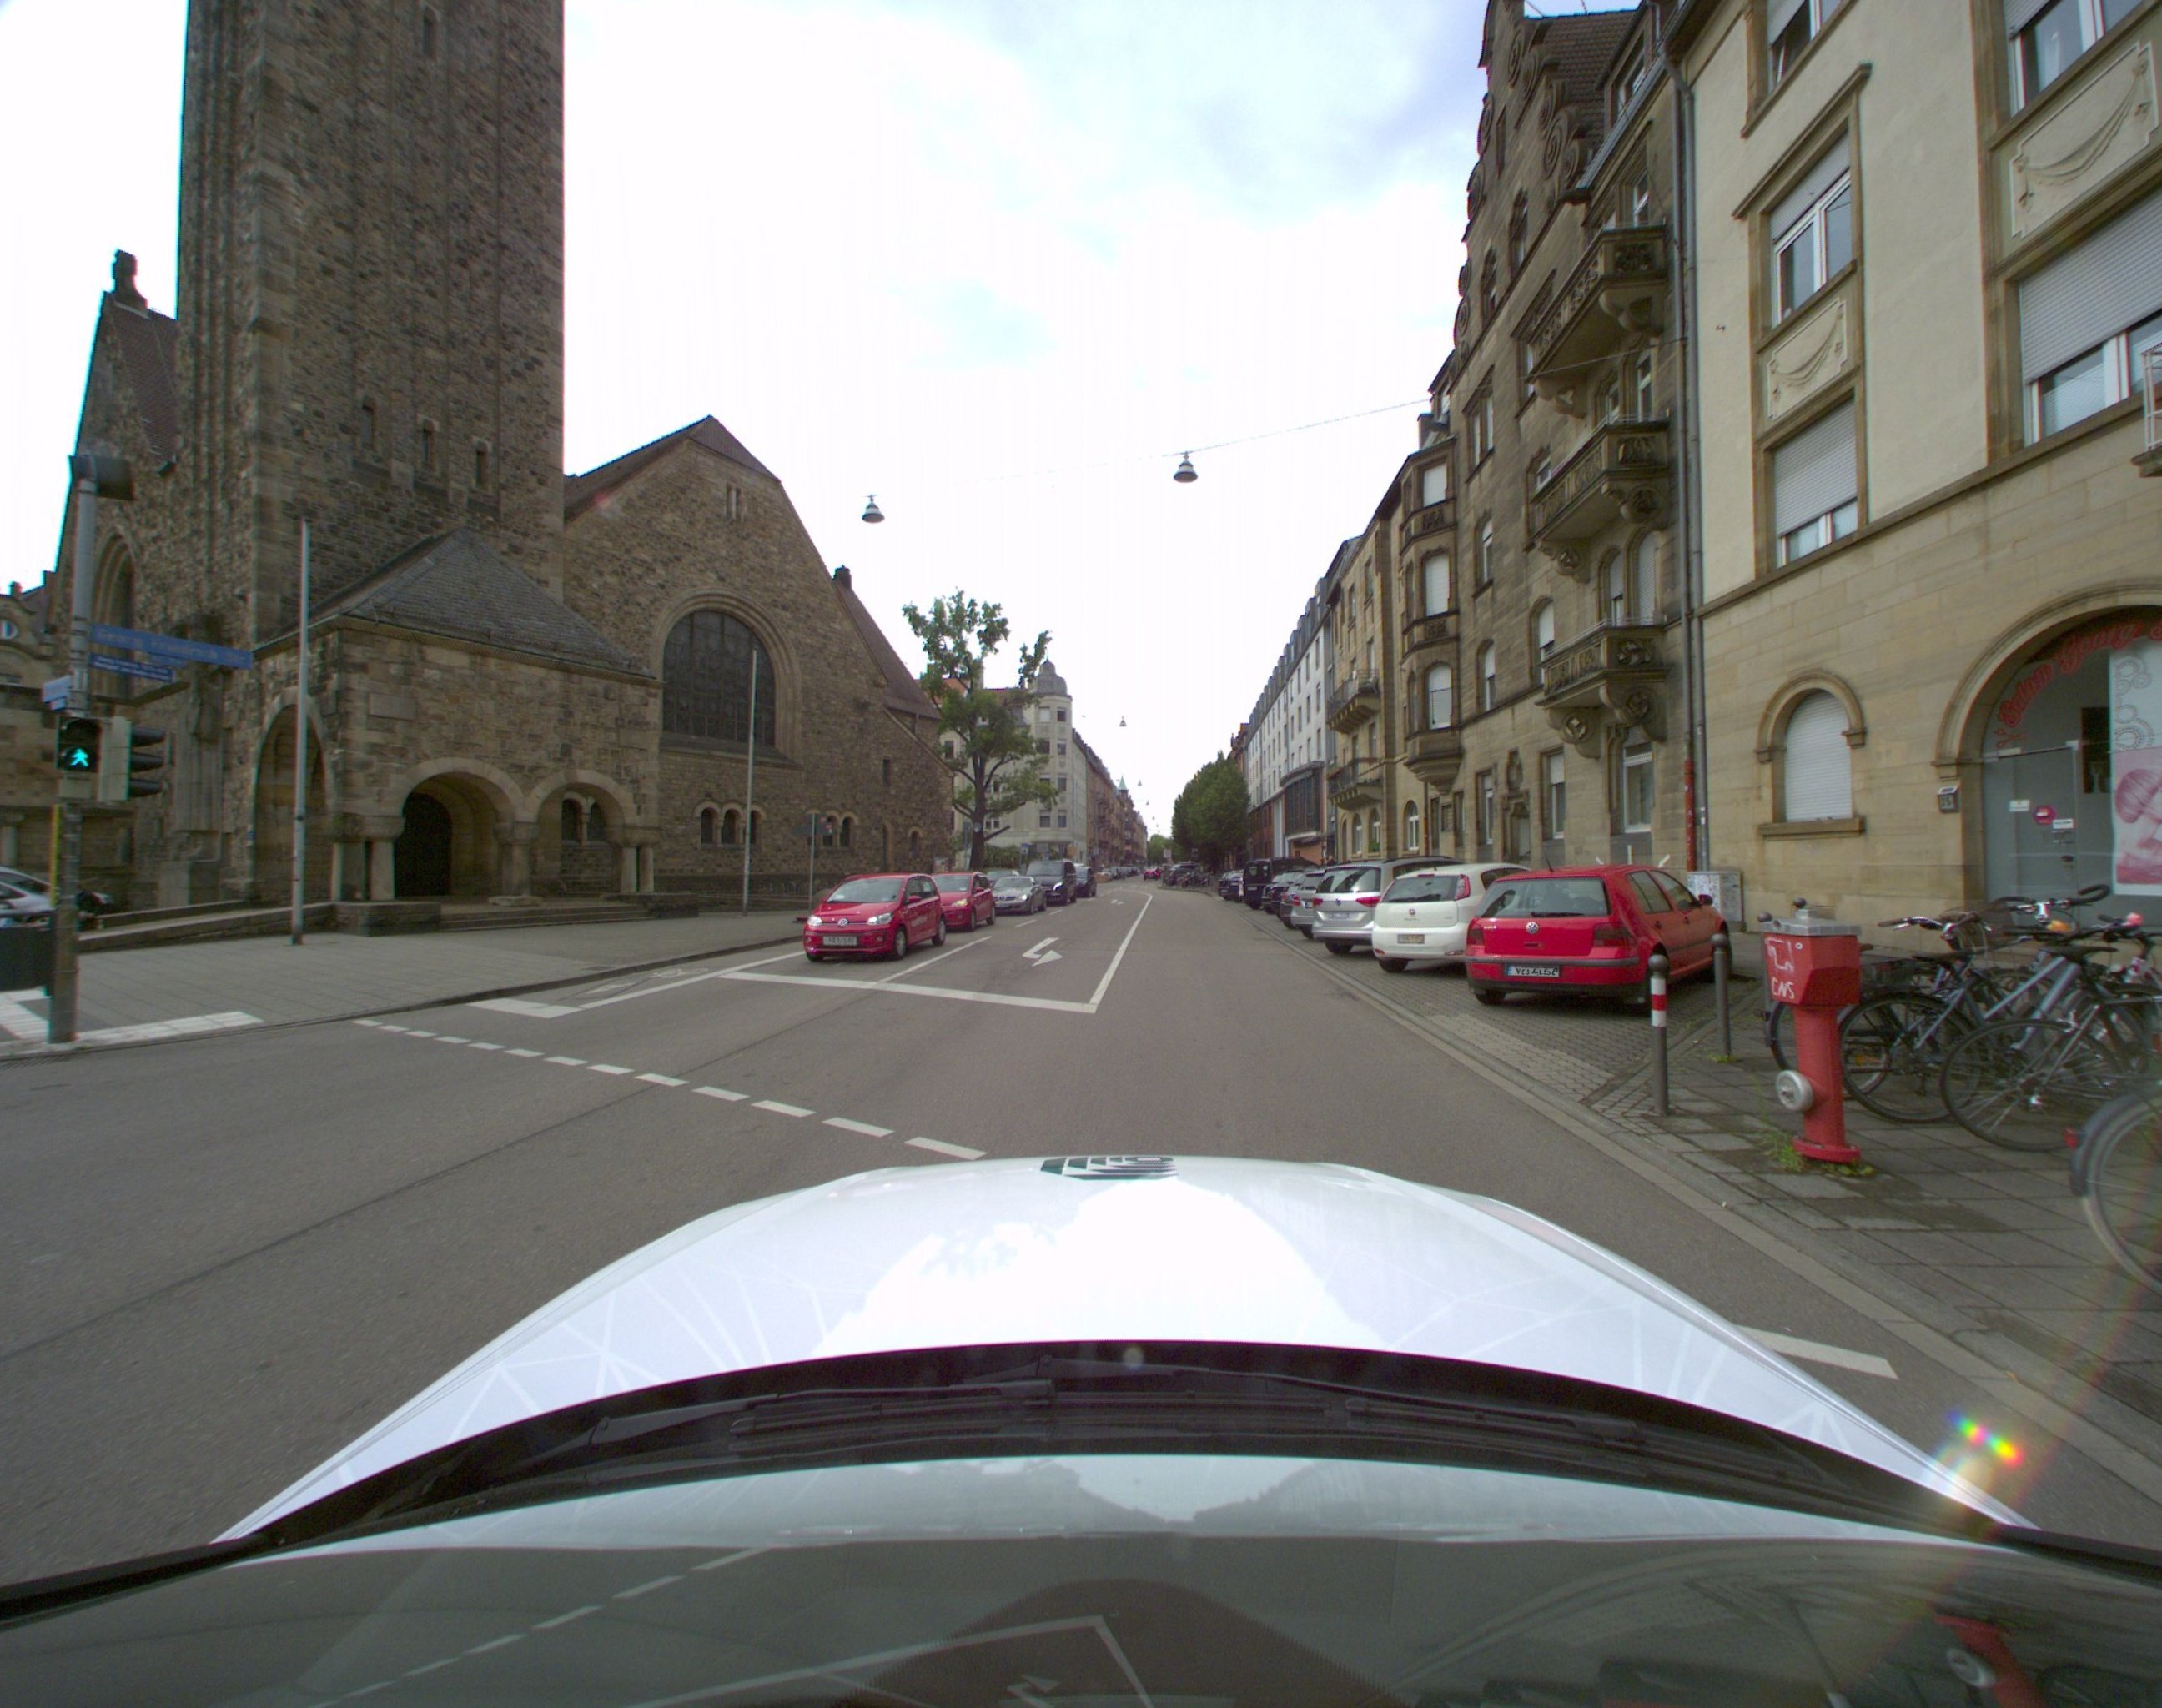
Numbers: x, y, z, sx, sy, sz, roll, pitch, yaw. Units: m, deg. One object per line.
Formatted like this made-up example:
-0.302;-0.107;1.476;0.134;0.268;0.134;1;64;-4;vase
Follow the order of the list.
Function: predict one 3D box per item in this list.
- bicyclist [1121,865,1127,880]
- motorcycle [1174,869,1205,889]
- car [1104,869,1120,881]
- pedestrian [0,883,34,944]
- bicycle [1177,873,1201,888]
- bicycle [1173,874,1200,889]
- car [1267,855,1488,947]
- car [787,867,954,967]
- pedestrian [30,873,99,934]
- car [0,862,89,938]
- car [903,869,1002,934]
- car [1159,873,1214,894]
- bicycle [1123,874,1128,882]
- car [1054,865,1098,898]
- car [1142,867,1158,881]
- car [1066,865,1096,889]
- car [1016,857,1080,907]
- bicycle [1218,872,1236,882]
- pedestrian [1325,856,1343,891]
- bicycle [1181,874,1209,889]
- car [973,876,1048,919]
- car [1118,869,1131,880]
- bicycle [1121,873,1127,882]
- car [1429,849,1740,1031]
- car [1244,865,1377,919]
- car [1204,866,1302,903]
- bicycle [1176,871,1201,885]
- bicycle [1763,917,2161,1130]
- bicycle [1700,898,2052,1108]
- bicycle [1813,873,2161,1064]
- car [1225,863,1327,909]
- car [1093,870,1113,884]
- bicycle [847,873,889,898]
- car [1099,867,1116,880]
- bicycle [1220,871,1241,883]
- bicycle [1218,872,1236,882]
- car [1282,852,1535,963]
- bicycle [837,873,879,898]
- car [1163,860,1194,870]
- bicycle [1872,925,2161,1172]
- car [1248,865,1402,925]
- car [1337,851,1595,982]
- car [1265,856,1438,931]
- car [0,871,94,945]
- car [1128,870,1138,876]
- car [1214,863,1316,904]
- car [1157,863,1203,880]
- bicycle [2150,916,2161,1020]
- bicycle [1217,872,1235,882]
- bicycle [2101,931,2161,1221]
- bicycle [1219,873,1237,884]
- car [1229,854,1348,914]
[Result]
5.370;2.248;101.430;0.778;1.866;0.716;0;-1;7;bicyclist
7.818;1.812;58.807;2.125;1.430;0.771;-1;-3;2;motorcycle
4.290;2.903;111.273;1.934;1.617;3.949;1;-2;6;car
-21.991;1.188;16.497;1.474;1.192;0.743;-1;-3;31;pedestrian
8.534;2.118;64.366;1.876;1.141;0.612;-1;-3;2;bicycle
7.858;2.042;60.673;1.921;1.043;0.612;-1;-3;2;bicycle
6.600;0.972;17.989;4.767;1.685;1.918;-2;-2;-31;car
-3.697;1.050;15.039;1.640;1.528;3.900;-2;-1;6;car
-21.494;1.038;17.249;0.743;1.229;1.049;3;-4;-44;pedestrian
-27.927;1.114;19.731;1.641;1.882;4.653;-1;-3;31;car
-3.182;1.177;20.920;1.594;1.457;3.723;-2;-2;5;car
8.913;2.441;68.599;4.297;1.578;1.847;-2;-1;-28;car
5.776;3.094;105.814;0.532;0.978;1.867;0;-2;5;bicycle
-0.201;1.438;44.105;1.835;1.684;4.556;0;-1;6;car
9.017;2.629;106.337;1.984;1.681;4.004;0;-2;5;car
0.039;1.886;67.306;1.833;1.939;4.557;0;-1;8;car
-1.308;1.144;34.791;1.902;1.955;5.293;0;-1;6;car
14.959;2.356;83.626;1.744;1.092;0.566;0;-3;5;bicycle
11.492;0.892;37.021;0.565;1.529;0.548;2;-3;-37;pedestrian
8.373;2.052;59.834;2.001;1.062;0.612;-1;-3;2;bicycle
-2.312;1.441;27.894;1.695;1.287;4.049;-2;-2;7;car
7.455;3.474;139.226;1.934;1.742;3.949;1;-2;6;car
5.321;2.943;101.282;0.564;1.087;1.990;0;-1;8;bicycle
5.665;0.774;8.992;3.854;1.561;1.773;0;-2;-40;car
7.701;1.239;27.197;4.087;1.453;2.010;-3;-1;-33;car
8.211;1.424;38.842;4.259;1.478;1.674;-3;0;-19;car
8.209;1.857;62.143;1.876;1.043;0.612;-1;-3;2;bicycle
4.979;0.927;4.581;1.725;1.039;0.477;-3;-3;5;bicycle
4.909;0.908;5.104;1.560;1.172;0.477;-3;-3;5;bicycle
6.252;0.768;5.619;1.771;1.172;0.496;-3;-3;5;bicycle
7.971;1.268;33.190;4.016;1.601;1.747;-3;0;-34;car
2.576;2.670;94.689;1.933;1.553;3.826;-1;-2;8;car
-10.124;1.482;38.720;1.763;1.166;0.745;0;-2;18;bicycle
3.491;2.495;106.104;1.934;1.617;3.949;1;-2;6;car
14.059;2.195;76.589;1.923;1.092;0.577;0;-3;5;bicycle
15.160;2.392;84.456;1.744;1.092;0.566;0;-3;5;bicycle
5.913;0.881;14.648;4.235;1.682;1.898;-1;-2;-28;car
-10.395;1.473;37.954;1.763;1.130;0.664;0;-2;18;bicycle
17.909;2.022;149.903;5.411;1.868;1.935;0;-2;-24;car
5.001;0.898;3.928;1.725;1.039;0.477;-3;-3;5;bicycle
7.215;1.144;23.956;4.482;1.552;1.833;-1;-2;-33;car
5.704;0.831;11.969;3.604;1.508;1.829;-2;-2;-36;car
6.997;0.946;20.915;4.482;1.574;1.729;-3;-1;-33;car
-25.159;1.170;17.747;1.641;1.636;4.389;-1;-3;31;car
11.005;3.970;171.630;1.985;1.321;4.002;0;-1;3;car
8.105;1.274;35.902;4.005;1.534;1.917;-3;0;-24;car
12.484;2.206;102.240;5.639;2.127;1.932;0;-2;-28;car
6.976;0.814;4.328;1.725;1.039;0.477;-3;-3;5;bicycle
15.176;2.424;85.227;1.744;1.092;0.566;0;-3;5;bicycle
5.013;0.840;3.052;1.560;1.127;0.477;-3;-3;5;bicycle
14.495;2.389;80.187;1.744;1.092;0.566;0;-3;5;bicycle
7.711;1.060;30.065;4.301;1.907;1.859;-3;0;-36;car
